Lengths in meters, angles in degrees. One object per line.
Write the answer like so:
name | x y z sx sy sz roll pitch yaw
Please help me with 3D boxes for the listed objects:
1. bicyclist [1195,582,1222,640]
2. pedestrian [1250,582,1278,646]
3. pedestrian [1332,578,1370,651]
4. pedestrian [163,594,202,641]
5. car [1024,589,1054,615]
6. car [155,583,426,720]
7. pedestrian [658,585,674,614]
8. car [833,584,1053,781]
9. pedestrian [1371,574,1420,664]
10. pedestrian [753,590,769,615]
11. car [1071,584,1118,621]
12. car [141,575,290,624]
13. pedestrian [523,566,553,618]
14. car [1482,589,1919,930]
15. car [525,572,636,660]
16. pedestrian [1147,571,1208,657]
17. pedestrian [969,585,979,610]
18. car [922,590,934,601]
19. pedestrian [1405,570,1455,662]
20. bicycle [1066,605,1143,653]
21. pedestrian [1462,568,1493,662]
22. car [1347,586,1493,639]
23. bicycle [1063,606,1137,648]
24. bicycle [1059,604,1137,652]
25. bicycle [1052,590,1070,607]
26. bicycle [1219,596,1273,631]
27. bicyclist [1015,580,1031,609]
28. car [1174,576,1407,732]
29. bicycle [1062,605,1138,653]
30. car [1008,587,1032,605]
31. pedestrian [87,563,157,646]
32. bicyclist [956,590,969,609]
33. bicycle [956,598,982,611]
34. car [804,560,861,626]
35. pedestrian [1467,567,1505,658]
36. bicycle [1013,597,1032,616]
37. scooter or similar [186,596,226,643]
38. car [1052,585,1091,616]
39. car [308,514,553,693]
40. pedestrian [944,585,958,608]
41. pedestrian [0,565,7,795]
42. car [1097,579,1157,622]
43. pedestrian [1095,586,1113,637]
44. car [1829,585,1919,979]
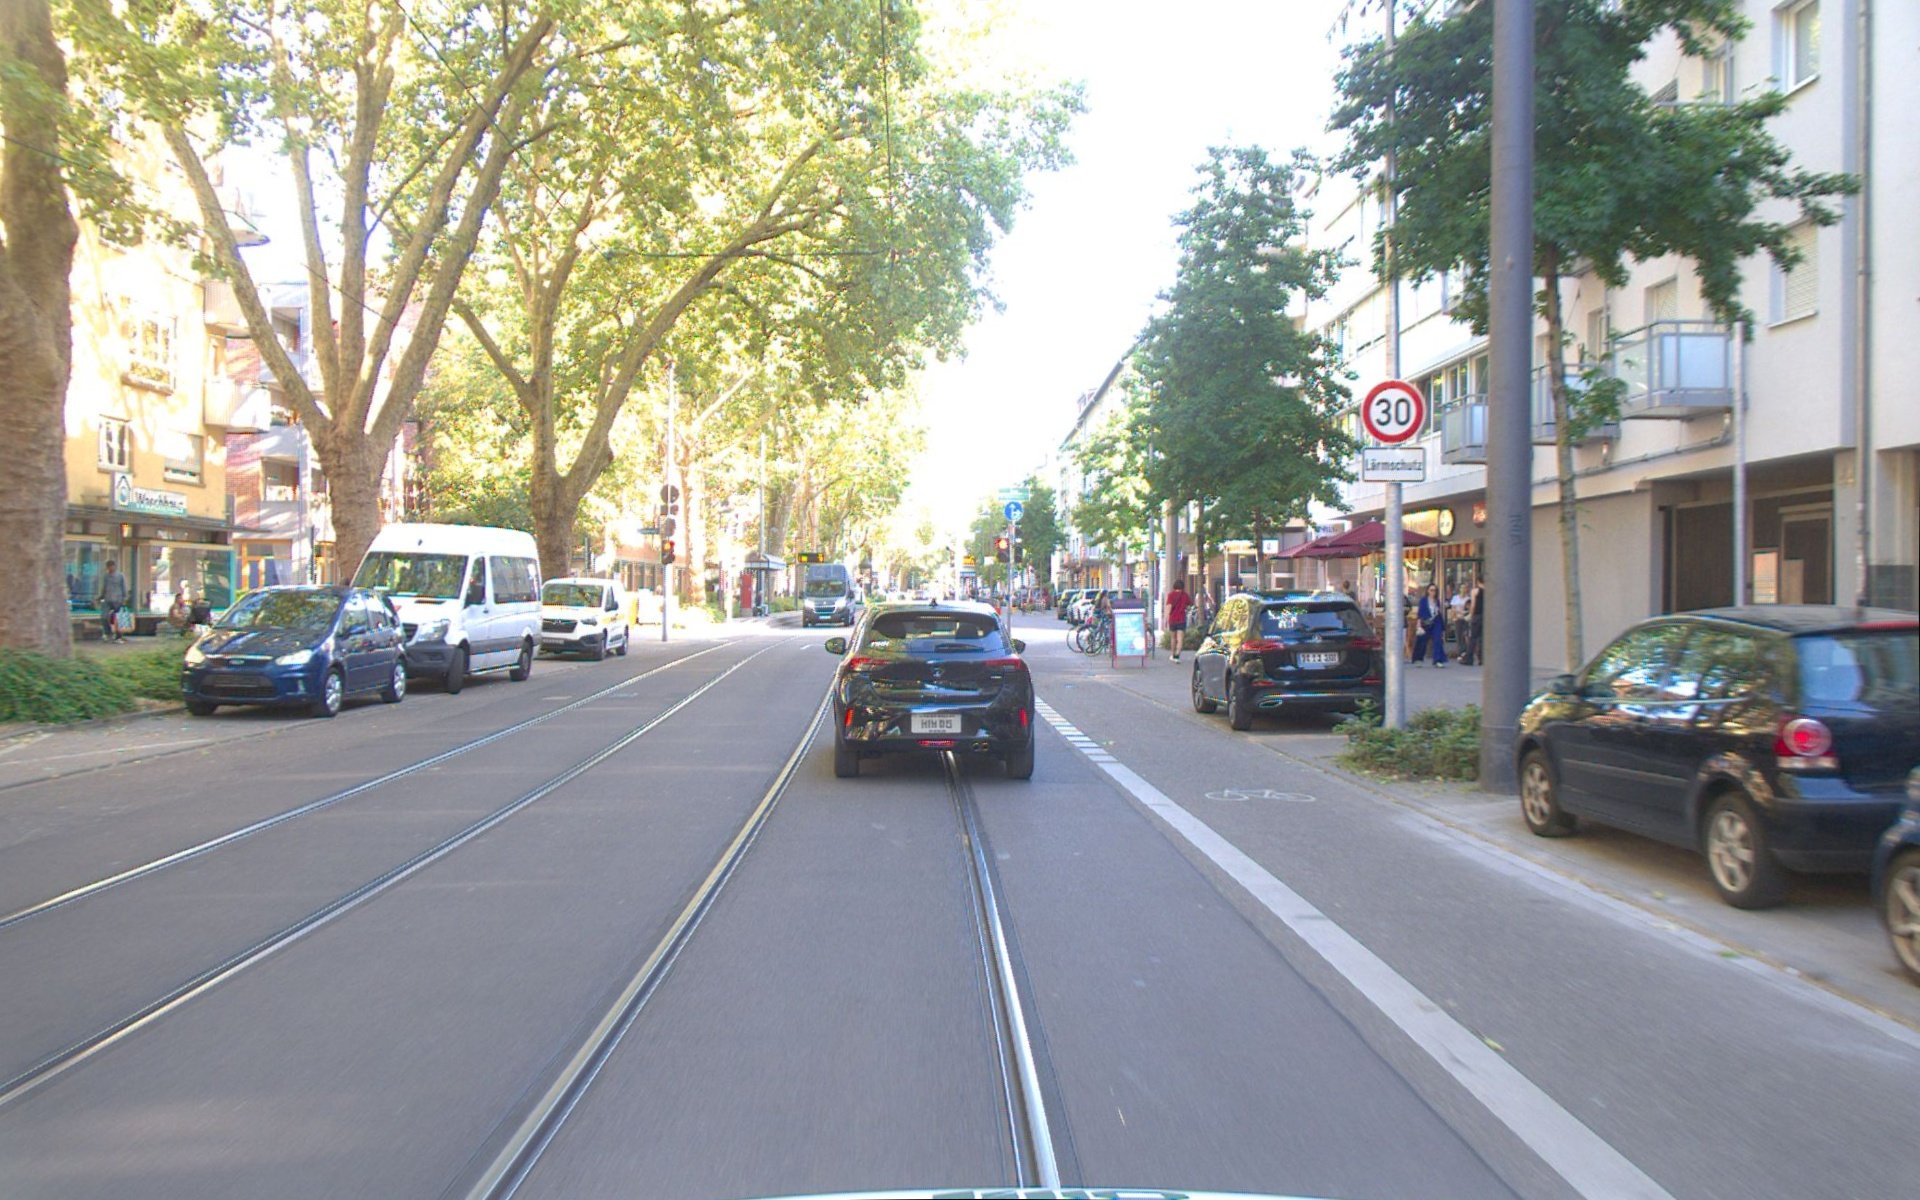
bicyclist | 7.643 0.333 50.909 0.663 1.747 0.965 1 0 1
pedestrian | 8.741 0.399 47.541 0.578 1.815 0.995 1 0 -2
pedestrian | 9.188 0.341 38.845 0.663 1.688 0.814 1 0 -2
pedestrian | -20.107 0.450 42.779 0.629 1.187 0.675 1 -1 26
car | 6.027 0.163 126.726 1.953 1.986 3.999 1 0 -1
car | -8.606 0.619 21.698 1.878 1.589 4.282 1 0 -2
pedestrian | -17.147 -0.028 96.456 0.720 1.701 0.861 1 0 -1
car | -0.213 0.652 14.893 1.724 1.534 3.681 0 0 -3
pedestrian | 8.264 0.347 31.426 0.629 1.666 0.869 -2 0 -3
pedestrian | -9.609 0.104 79.905 0.691 1.189 0.659 -1 0 -4
car | 6.214 0.107 76.741 1.763 1.634 4.414 1 0 0
car | -26.260 -0.003 58.474 4.348 1.481 1.996 3 0 -9
pedestrian | -15.683 -0.296 61.488 0.906 1.867 0.919 1 2 -5
car | 4.558 0.720 9.600 1.590 1.507 3.887 -2 0 -3
car | -8.723 0.357 38.345 1.728 1.883 4.316 1 0 -2
pedestrian | 4.593 0.295 34.888 0.861 1.789 1.044 1 -1 36
pedestrian | 0.900 -0.166 106.395 0.618 1.603 0.870 2 0 -1
car | -4.932 -0.643 254.086 1.710 1.571 3.998 1 0 -2
pedestrian | 8.939 0.303 31.481 0.584 1.707 0.934 -2 0 -3
bicycle | 3.470 0.691 39.709 1.782 1.119 0.480 1 0 -9
pedestrian | 10.211 0.298 32.639 0.422 1.827 0.489 1 -1 -2
car | 14.910 0.422 53.722 4.167 1.620 1.964 1 -1 -7
bicycle | 3.487 0.680 41.134 1.779 1.011 0.481 1 0 -3
bicycle | 3.242 0.650 38.984 1.778 1.119 0.525 0 0 -2
bicycle | 6.909 -0.110 112.825 0.610 1.156 2.432 1 0 -11
bicycle | 10.468 0.492 60.531 1.876 1.229 0.510 0 0 -5
bicyclist | 3.991 -0.359 105.120 0.844 1.790 1.052 1 0 -7
car | 3.916 0.592 20.358 1.724 1.615 4.326 -3 0 -3
bicycle | 3.417 0.705 40.325 1.782 1.119 0.496 1 0 -9
car | 5.271 -0.358 145.943 1.953 1.512 3.999 1 0 0
pedestrian | -19.635 0.101 38.786 1.085 1.897 1.058 1 0 -4
bicyclist | 0.220 -0.032 162.775 1.141 1.779 0.957 1 0 -6
bicycle | 0.854 0.439 162.841 2.432 1.262 0.957 1 0 -6
car | -5.596 -0.289 73.341 2.070 2.786 6.114 -1 0 -1
pedestrian | 10.729 0.261 33.756 0.517 1.837 0.628 0 -1 42
bicycle | 3.991 0.403 105.080 0.844 1.156 2.392 1 0 -7
scooter or similar | -19.354 0.509 42.435 0.629 1.187 0.675 1 -1 26
car | 6.220 0.043 92.537 1.819 1.644 4.397 1 0 0
car | -8.588 0.057 27.532 2.064 2.622 6.024 1 0 0
pedestrian | -0.670 -0.294 125.462 0.736 1.739 0.761 1 -1 34
pedestrian | -7.881 0.621 12.656 0.697 1.808 0.770 1 0 -1
car | 6.946 0.026 69.290 1.953 1.643 4.444 -3 0 0
pedestrian | 4.547 0.368 52.300 0.539 1.589 0.645 1 -1 3
car | 4.534 0.716 5.769 1.415 1.564 2.880 -2 0 -1
